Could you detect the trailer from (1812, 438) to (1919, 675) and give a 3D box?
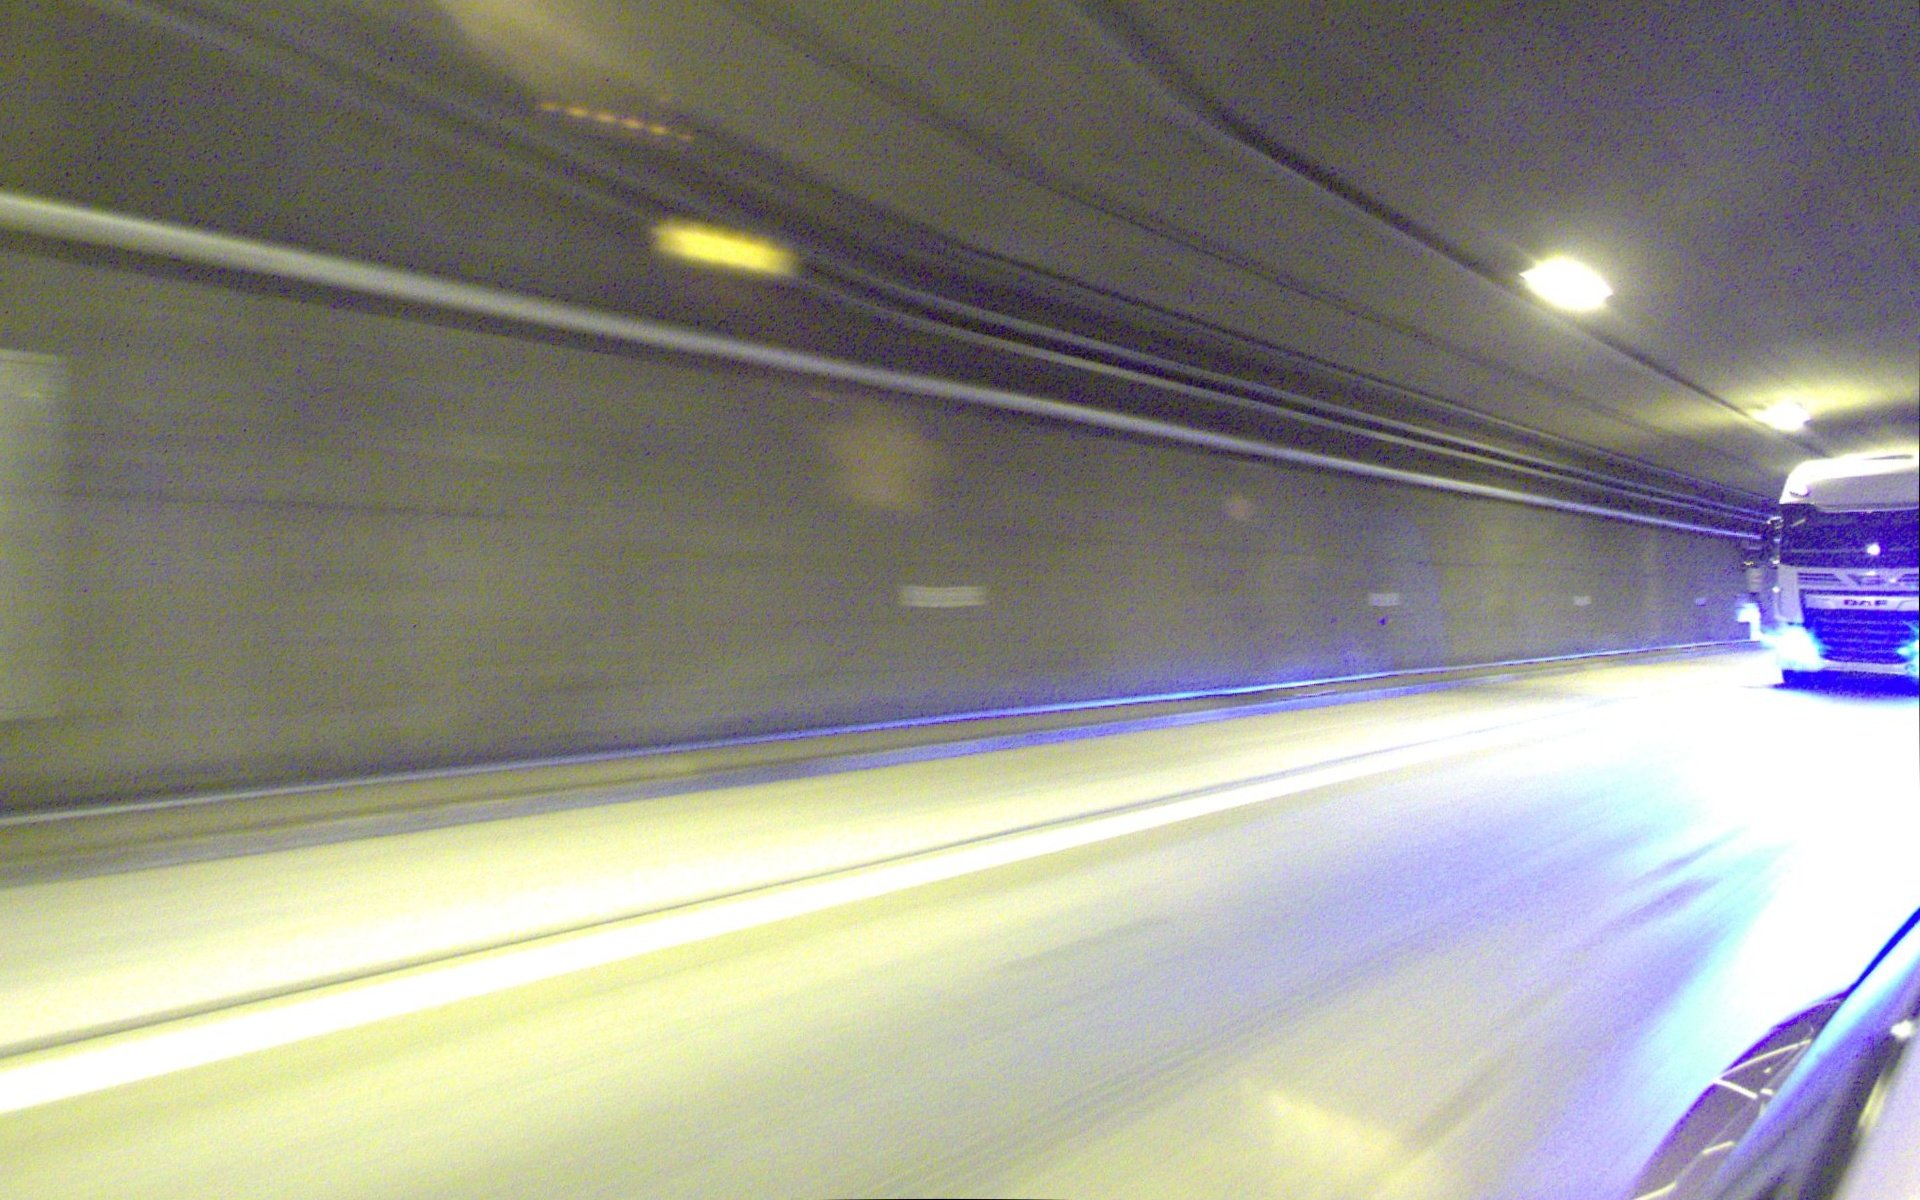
[{"bbox_3d":[22.193,-0.796,22.507,13.753,4.216,2.625,0,-1,-40],"label":"trailer"}]

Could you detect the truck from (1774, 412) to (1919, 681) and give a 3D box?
[{"bbox_3d":[17.001,-0.860,18.142,5.898,4.216,2.651,0,0,-40],"label":"truck"}]
